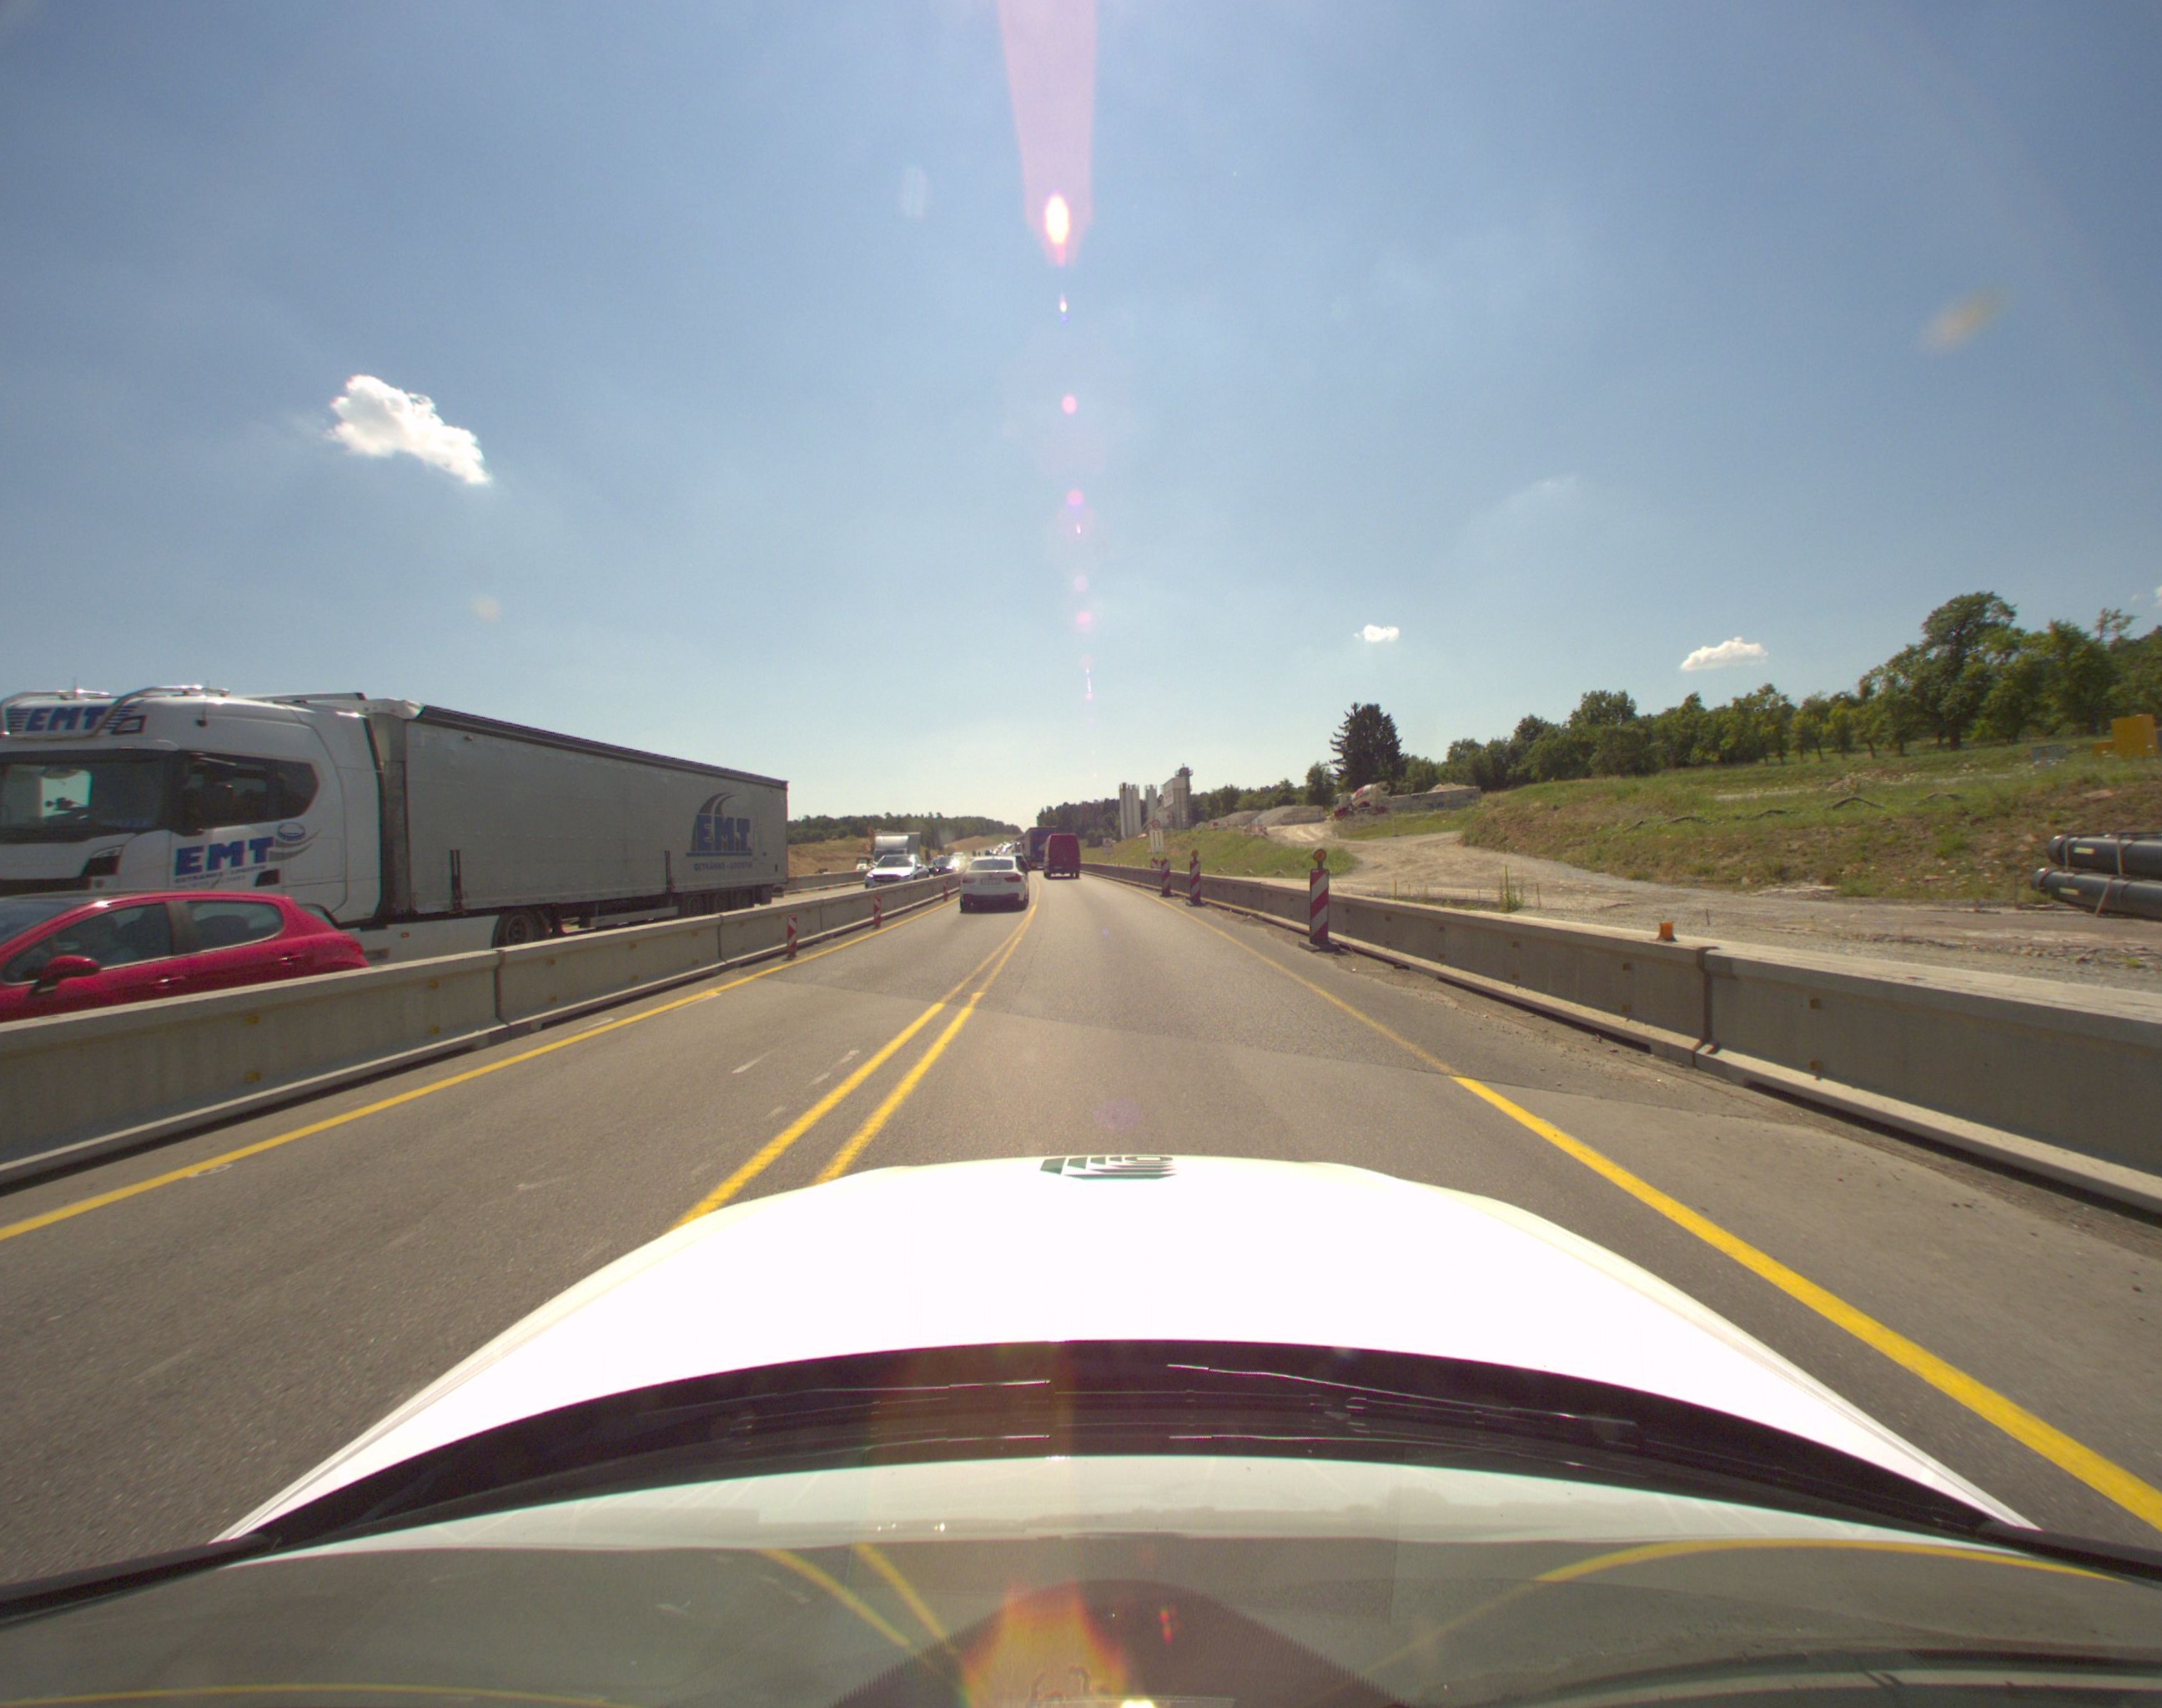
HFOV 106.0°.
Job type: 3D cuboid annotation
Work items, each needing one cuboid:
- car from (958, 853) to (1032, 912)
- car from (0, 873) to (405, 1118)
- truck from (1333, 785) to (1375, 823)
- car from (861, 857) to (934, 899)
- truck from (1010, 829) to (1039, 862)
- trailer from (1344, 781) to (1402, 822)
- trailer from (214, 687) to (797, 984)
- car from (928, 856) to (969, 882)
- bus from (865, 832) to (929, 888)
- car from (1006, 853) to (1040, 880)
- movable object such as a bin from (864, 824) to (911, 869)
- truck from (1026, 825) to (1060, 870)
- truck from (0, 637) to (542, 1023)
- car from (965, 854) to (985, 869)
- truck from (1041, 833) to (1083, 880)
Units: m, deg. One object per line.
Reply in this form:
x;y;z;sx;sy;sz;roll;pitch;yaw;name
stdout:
-2.444;0.756;24.181;1.790;1.534;5.069;-1;0;-2;car
-7.665;0.971;6.121;1.661;1.475;3.973;-2;0;3;car
31.740;-5.767;94.789;2.749;4.095;4.080;-2;0;-14;truck
-7.290;0.921;32.886;1.790;1.475;4.777;-2;0;0;car
-8.626;-1.250;125.836;3.672;4.691;9.750;-2;0;0;truck
32.605;-5.791;91.263;2.760;4.114;6.713;-2;0;-14;trailer
-10.671;-0.281;18.610;2.749;4.114;13.986;-2;0;2;trailer
-8.168;0.909;50.638;1.803;1.414;4.397;-2;0;-1;car
-11.121;0.343;49.898;2.343;3.125;7.223;-2;0;-2;bus
-3.678;0.772;52.245;1.788;1.534;3.932;-2;0;1;car
-35.106;-1.400;148.071;7.623;7.713;3.440;-2;0;-4;movable object such as a bin
-3.869;-0.585;81.145;3.010;4.152;8.258;-2;0;-5;truck
-11.044;-0.237;11.518;2.688;4.062;5.509;-2;0;5;truck
-11.041;0.779;84.964;1.813;1.455;4.627;-2;0;-5;car
-1.276;0.164;50.801;2.109;2.633;6.472;-2;0;-5;truck
